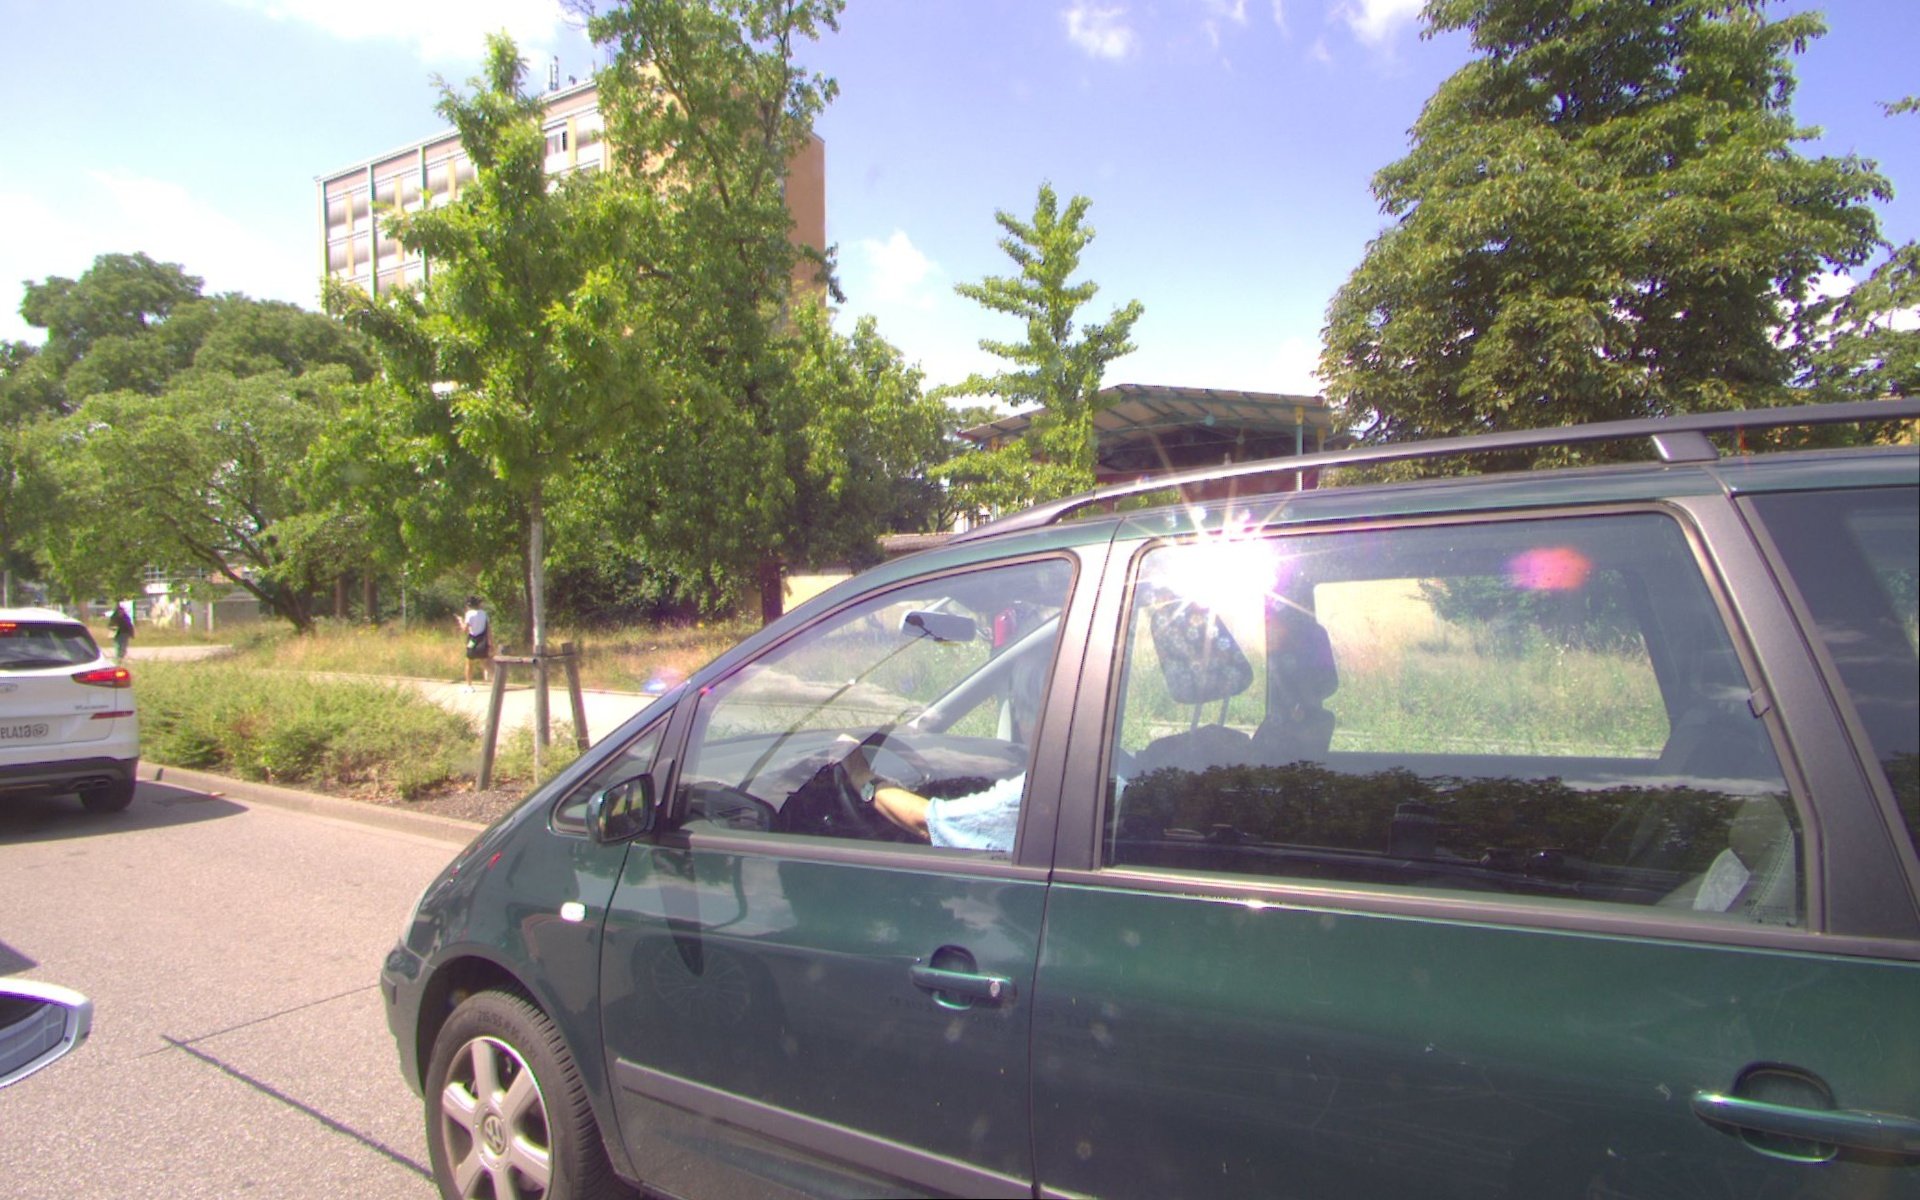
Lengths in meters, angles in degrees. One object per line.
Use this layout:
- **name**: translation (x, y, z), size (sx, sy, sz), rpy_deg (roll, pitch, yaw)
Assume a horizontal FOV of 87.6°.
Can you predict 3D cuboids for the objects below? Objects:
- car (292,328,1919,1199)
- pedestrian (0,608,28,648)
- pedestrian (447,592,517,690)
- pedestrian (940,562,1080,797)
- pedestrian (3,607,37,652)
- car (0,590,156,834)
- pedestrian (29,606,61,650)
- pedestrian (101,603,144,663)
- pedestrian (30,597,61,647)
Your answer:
- **car**: translation (0.540, 0.639, 2.286), size (4.329, 1.737, 1.799), rpy_deg (0, -2, 32)
- **pedestrian**: translation (-44.180, 1.295, 46.738), size (0.804, 1.874, 0.758), rpy_deg (0, 1, 30)
- **pedestrian**: translation (-7.974, 0.664, 16.707), size (0.805, 1.578, 0.757), rpy_deg (0, 1, 34)
- **pedestrian**: translation (0.390, 0.581, 7.836), size (0.807, 1.706, 0.754), rpy_deg (0, 1, 44)
- **pedestrian**: translation (-39.947, 1.234, 42.559), size (0.802, 1.874, 0.759), rpy_deg (0, 1, 22)
- **car**: translation (-8.337, 0.793, 8.083), size (3.919, 1.700, 1.810), rpy_deg (0, 0, 34)
- **pedestrian**: translation (-39.714, 1.204, 43.470), size (0.803, 1.874, 0.759), rpy_deg (0, 0, 24)
- **pedestrian**: translation (-24.099, 0.936, 28.821), size (0.805, 1.677, 0.756), rpy_deg (0, 1, 36)
- **pedestrian**: translation (-34.175, 0.815, 37.420), size (0.806, 1.813, 0.756), rpy_deg (0, 0, 38)
